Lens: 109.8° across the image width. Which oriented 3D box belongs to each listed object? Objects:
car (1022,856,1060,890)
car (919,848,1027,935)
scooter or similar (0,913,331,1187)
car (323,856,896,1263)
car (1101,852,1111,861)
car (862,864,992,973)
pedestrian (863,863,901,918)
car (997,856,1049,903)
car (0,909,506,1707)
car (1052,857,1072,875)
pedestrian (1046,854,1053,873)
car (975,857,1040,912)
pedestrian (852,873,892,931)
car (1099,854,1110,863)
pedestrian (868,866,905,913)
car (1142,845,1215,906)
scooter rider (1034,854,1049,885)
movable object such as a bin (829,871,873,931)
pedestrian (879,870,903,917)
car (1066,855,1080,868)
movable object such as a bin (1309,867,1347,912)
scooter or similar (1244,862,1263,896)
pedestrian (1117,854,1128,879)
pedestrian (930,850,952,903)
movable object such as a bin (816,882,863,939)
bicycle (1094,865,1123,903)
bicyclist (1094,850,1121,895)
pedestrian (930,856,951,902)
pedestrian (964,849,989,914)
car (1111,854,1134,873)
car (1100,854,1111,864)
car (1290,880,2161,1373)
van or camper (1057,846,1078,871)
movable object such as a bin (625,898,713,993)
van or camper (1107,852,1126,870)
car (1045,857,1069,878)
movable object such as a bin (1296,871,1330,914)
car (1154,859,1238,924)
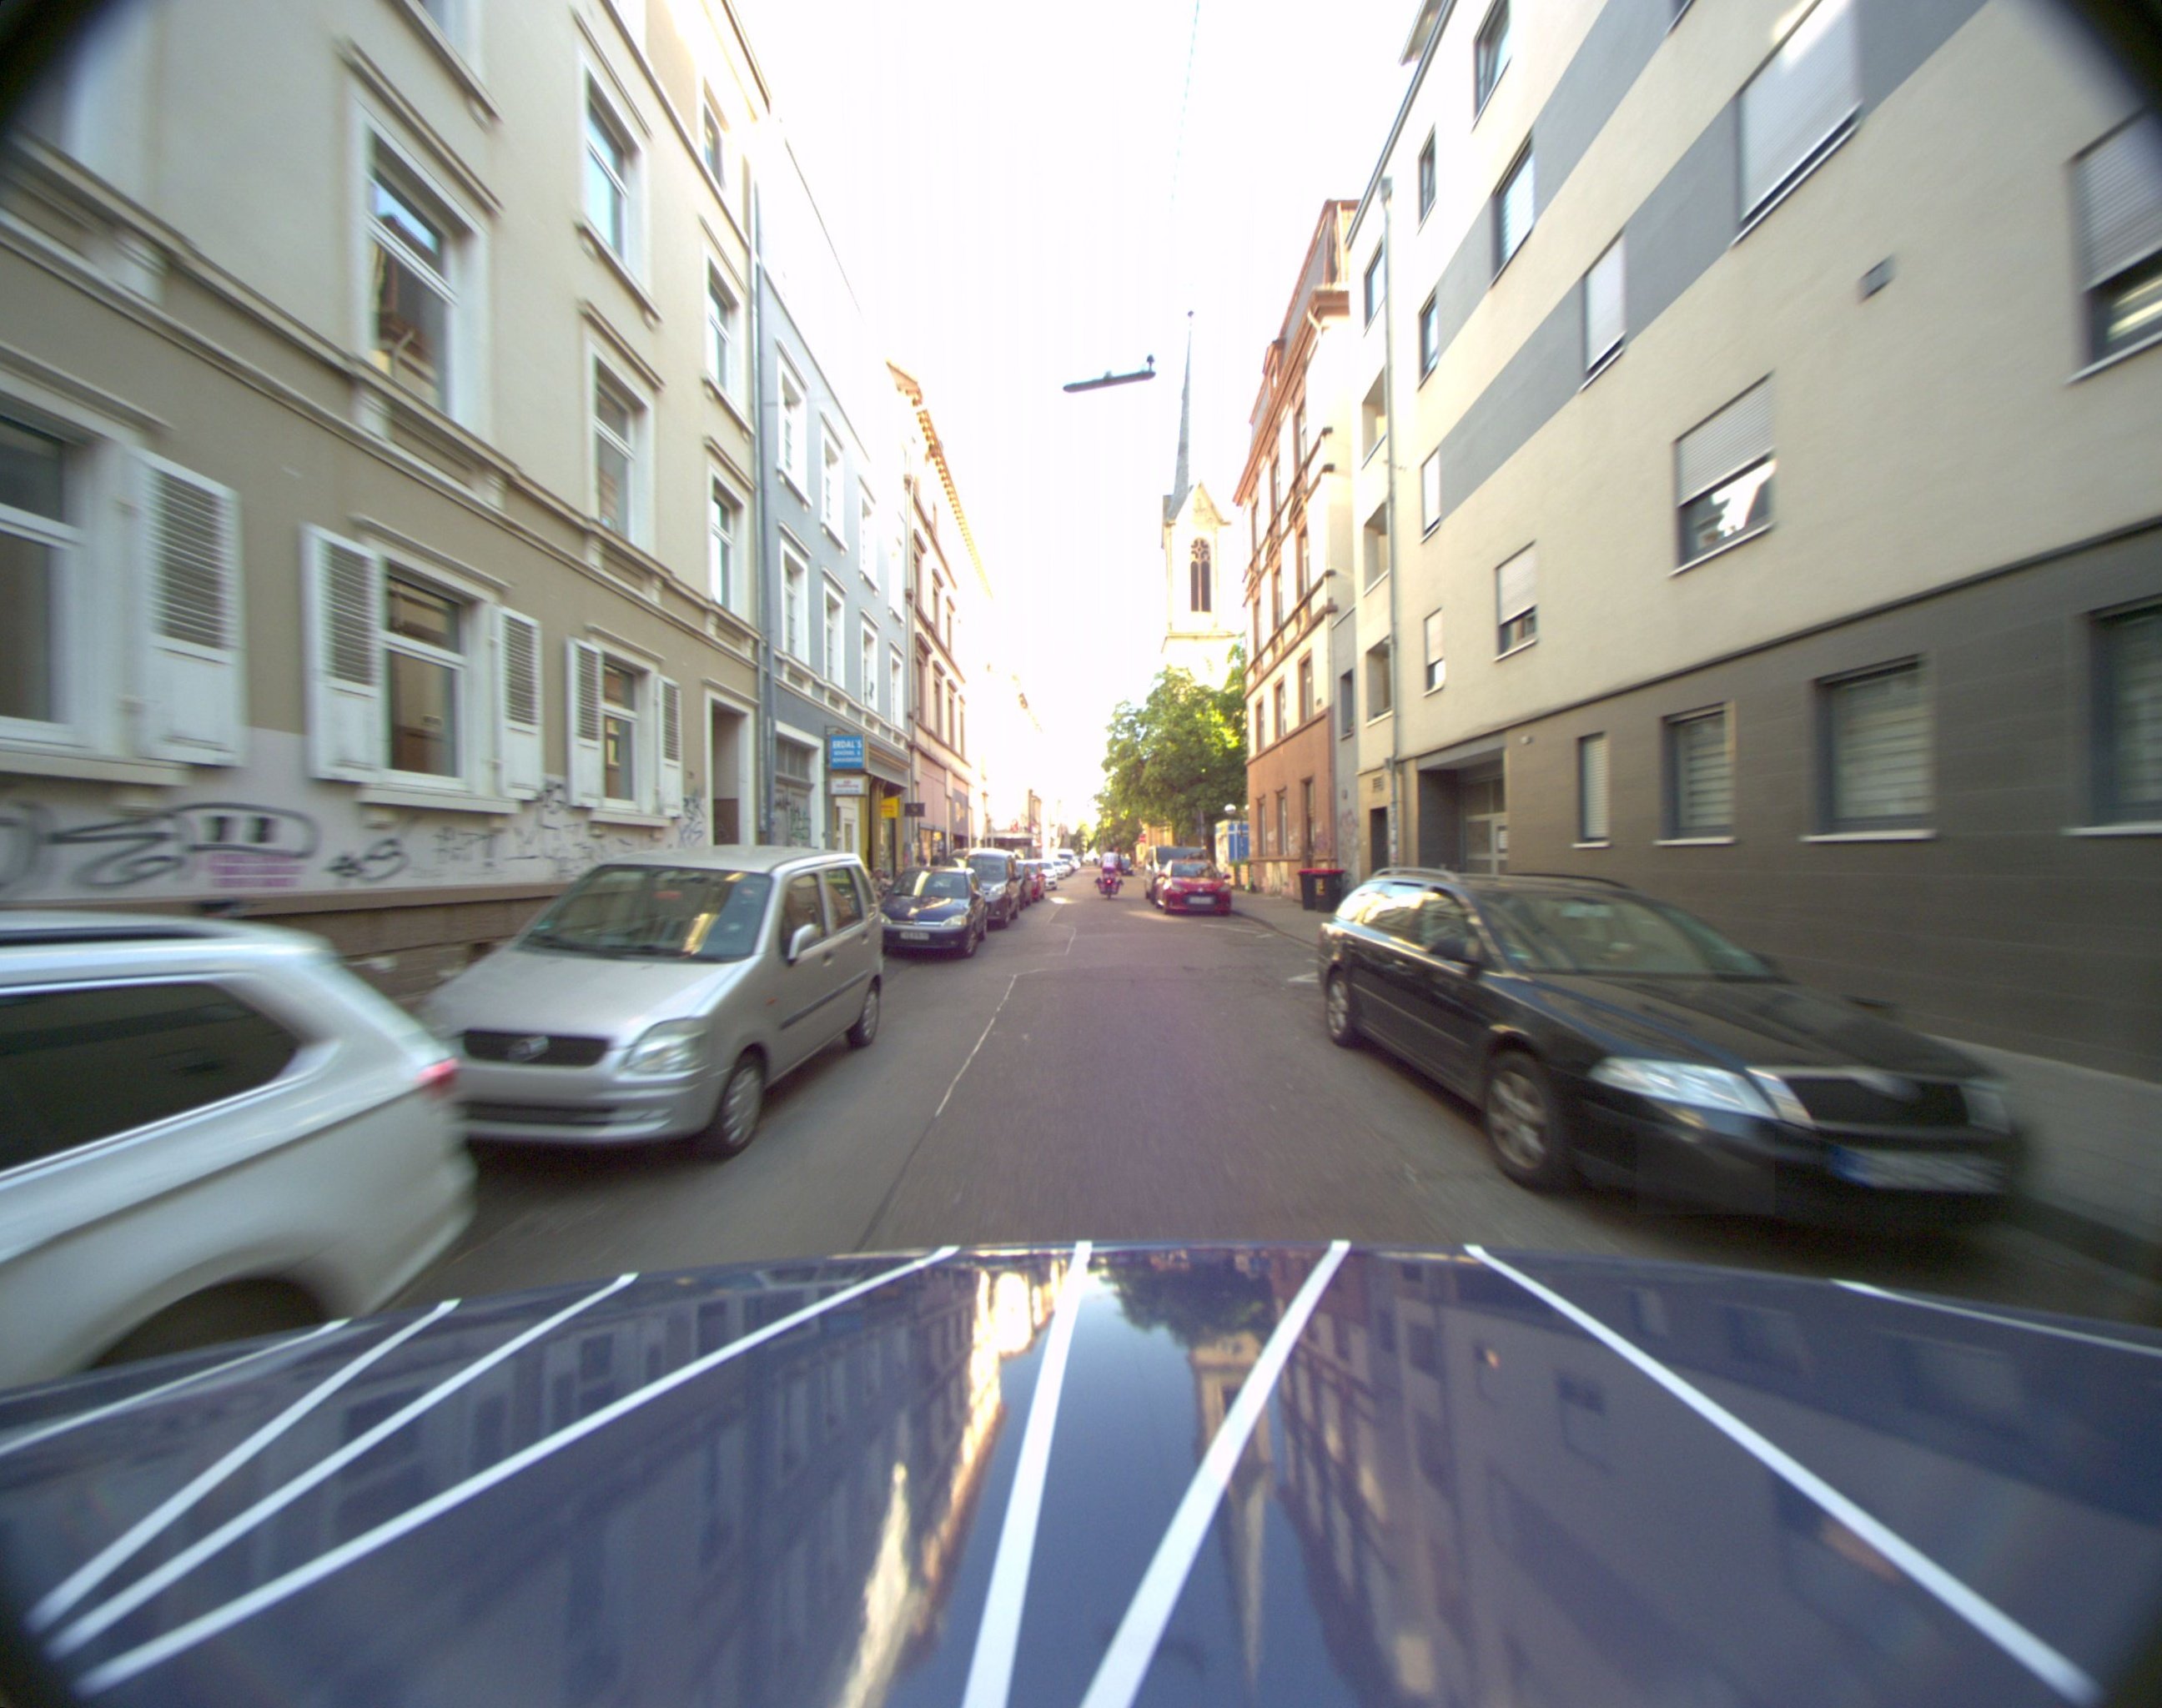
[{"bbox_3d":[-1.979,0.930,38.867,1.792,1.507,4.135,-2,1,-1],"label":"car"},{"bbox_3d":[-2.456,0.790,18.368,1.904,1.783,4.314,-2,1,0],"label":"car"},{"bbox_3d":[-5.177,0.994,4.317,0.451,1.176,1.368,3,1,0],"label":"scooter or similar"},{"bbox_3d":[-2.513,0.920,5.138,1.560,1.702,3.558,-2,1,0],"label":"car"},{"bbox_3d":[4.730,0.546,143.428,1.777,1.614,4.022,-2,0,0],"label":"car"},{"bbox_3d":[-2.503,0.985,13.137,1.556,1.502,3.611,-2,1,-2],"label":"car"},{"bbox_3d":[-4.791,0.865,18.325,0.677,1.269,0.654,-2,1,3],"label":"pedestrian"},{"bbox_3d":[-2.151,0.914,28.836,1.610,1.563,3.553,-2,1,1],"label":"car"},{"bbox_3d":[-2.776,0.984,0.212,1.701,1.535,4.628,1,1,0],"label":"car"},{"bbox_3d":[-1.627,1.039,67.451,1.558,1.517,4.200,-2,1,1],"label":"car"},{"bbox_3d":[-3.092,0.928,74.424,0.563,1.883,0.530,-2,1,0],"label":"pedestrian"},{"bbox_3d":[-2.312,0.919,24.572,1.573,1.548,3.314,2,1,3],"label":"car"},{"bbox_3d":[-4.795,1.089,17.489,0.677,1.269,0.628,-2,1,3],"label":"pedestrian"},{"bbox_3d":[4.218,0.767,137.580,1.777,1.614,4.022,-2,0,0],"label":"car"},{"bbox_3d":[-4.872,0.881,19.080,0.677,1.118,0.654,-2,1,3],"label":"pedestrian"},{"bbox_3d":[3.294,0.681,26.650,2.025,1.868,5.297,-2,0,2],"label":"car"},{"bbox_3d":[-2.338,0.905,44.640,0.610,1.768,0.566,-1,1,40],"label":"scooter rider"},{"bbox_3d":[-4.872,0.992,16.113,0.764,1.236,0.580,0,1,-2],"label":"movable object such as a bin"},{"bbox_3d":[-5.075,1.062,20.347,0.439,1.215,0.514,-2,1,3],"label":"pedestrian"},{"bbox_3d":[-0.975,0.955,97.779,1.696,1.615,3.963,-2,0,1],"label":"car"},{"bbox_3d":[6.119,0.879,18.854,0.731,1.060,0.505,-3,1,-30],"label":"movable object such as a bin"},{"bbox_3d":[6.449,0.915,28.405,0.348,1.209,1.391,-2,1,0],"label":"scooter or similar"},{"bbox_3d":[3.104,0.939,57.319,0.718,1.862,0.720,-2,1,0],"label":"pedestrian"},{"bbox_3d":[-4.686,0.729,25.445,0.630,1.730,0.658,-2,1,-12],"label":"pedestrian"},{"bbox_3d":[-4.872,1.129,15.381,0.727,1.085,0.685,-1,0,-2],"label":"movable object such as a bin"},{"bbox_3d":[0.966,1.075,27.810,0.980,1.306,2.555,0,0,0],"label":"bicycle"},{"bbox_3d":[0.963,0.655,27.785,0.952,1.618,0.953,1,1,0],"label":"bicyclist"},{"bbox_3d":[-4.825,0.857,26.091,0.589,1.521,0.658,-2,1,-5],"label":"pedestrian"},{"bbox_3d":[-2.854,0.734,20.694,0.428,1.730,0.561,-3,1,-29],"label":"pedestrian"},{"bbox_3d":[3.596,0.813,66.134,1.798,1.543,3.834,-2,1,1],"label":"car"},{"bbox_3d":[4.291,0.899,132.933,1.777,1.614,4.022,-2,0,0],"label":"car"},{"bbox_3d":[2.793,0.969,4.737,1.721,1.470,4.499,2,-1,0],"label":"car"},{"bbox_3d":[-1.474,0.473,83.551,1.998,2.617,5.979,-2,1,1],"label":"van or camper"},{"bbox_3d":[-4.979,1.094,9.215,0.754,1.081,0.559,1,1,0],"label":"movable object such as a bin"},{"bbox_3d":[4.034,0.812,87.219,1.984,1.939,4.563,-2,0,1],"label":"van or camper"},{"bbox_3d":[-1.816,0.985,57.462,1.694,1.454,3.639,-2,1,-2],"label":"car"},{"bbox_3d":[6.034,1.001,19.743,0.760,1.060,0.652,-2,1,20],"label":"movable object such as a bin"},{"bbox_3d":[3.061,0.951,20.981,1.755,1.513,3.869,2,1,1],"label":"car"}]
